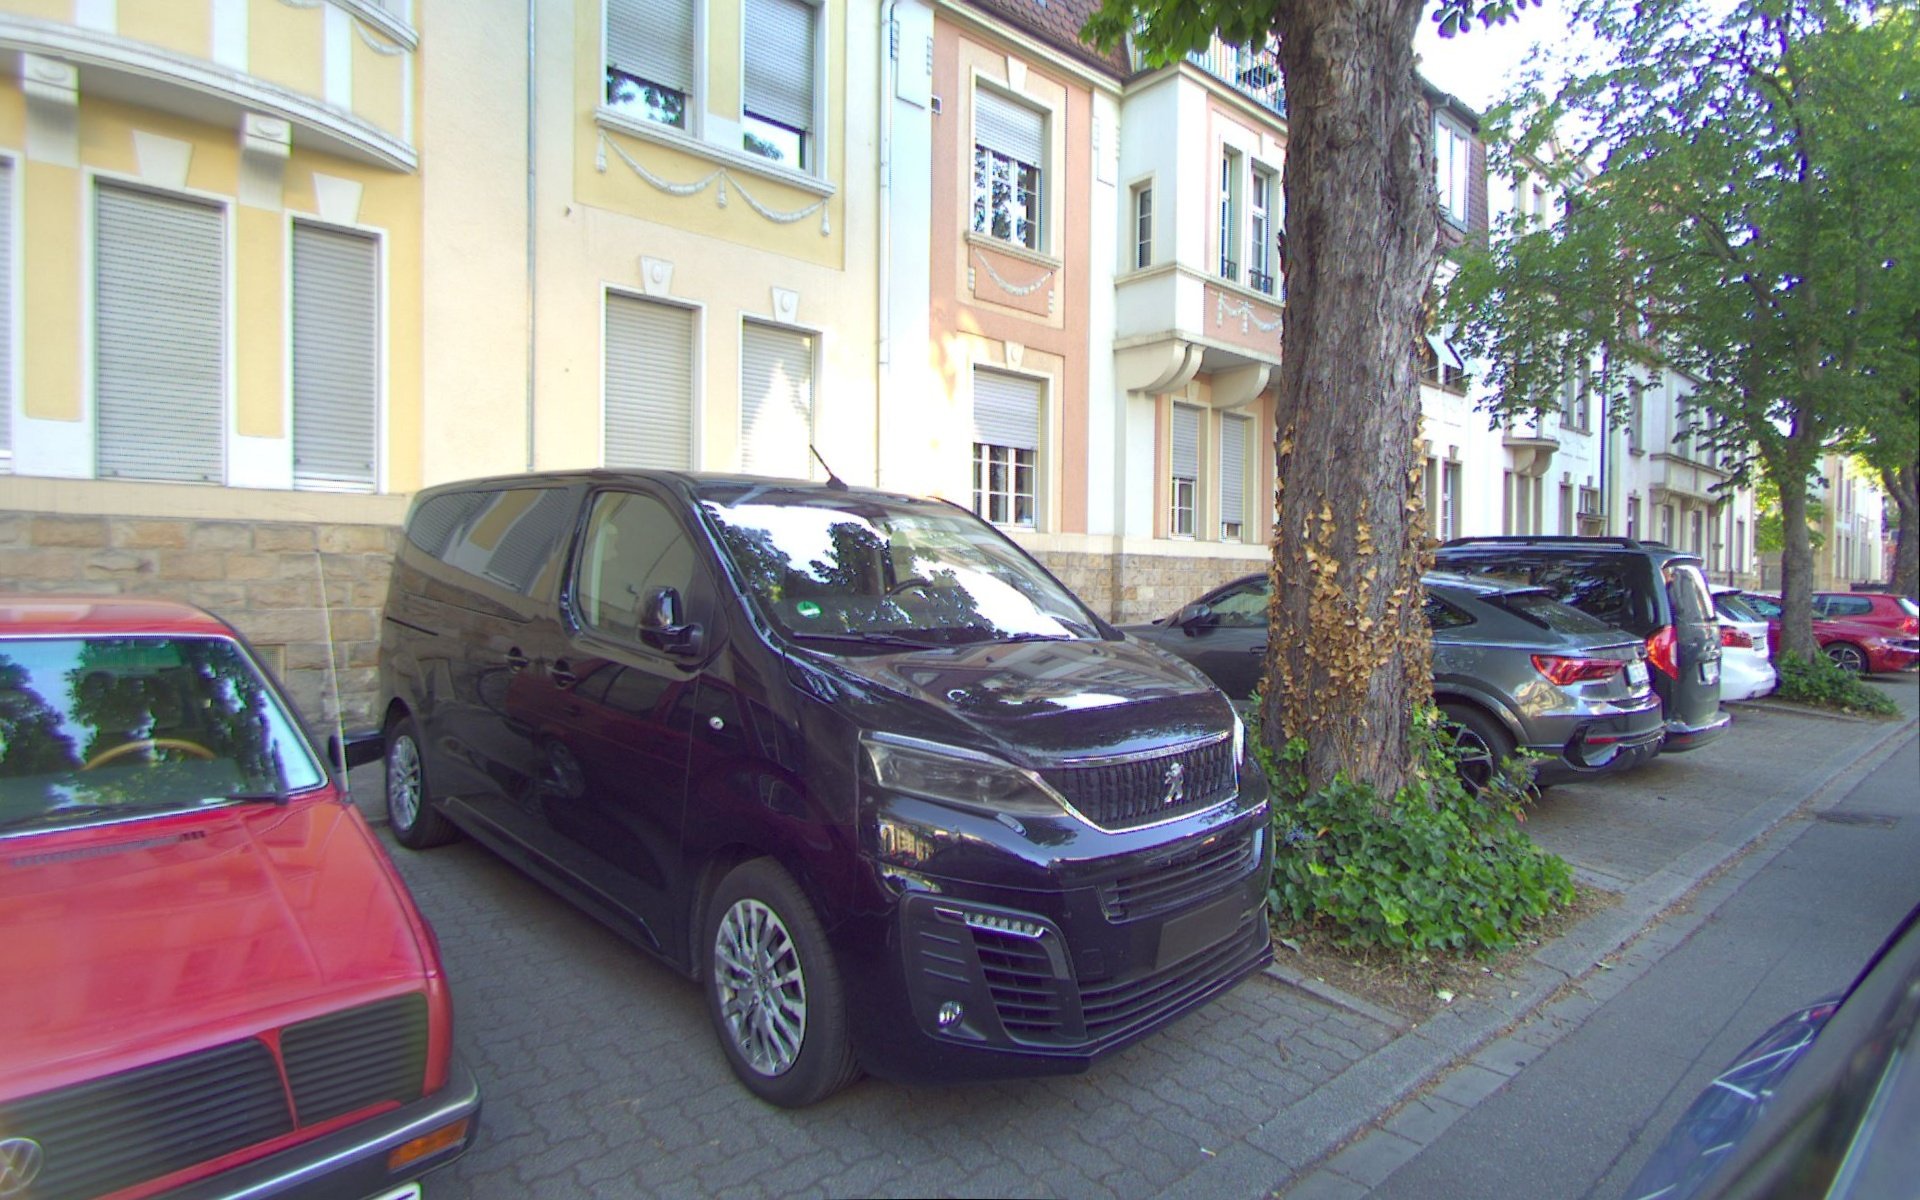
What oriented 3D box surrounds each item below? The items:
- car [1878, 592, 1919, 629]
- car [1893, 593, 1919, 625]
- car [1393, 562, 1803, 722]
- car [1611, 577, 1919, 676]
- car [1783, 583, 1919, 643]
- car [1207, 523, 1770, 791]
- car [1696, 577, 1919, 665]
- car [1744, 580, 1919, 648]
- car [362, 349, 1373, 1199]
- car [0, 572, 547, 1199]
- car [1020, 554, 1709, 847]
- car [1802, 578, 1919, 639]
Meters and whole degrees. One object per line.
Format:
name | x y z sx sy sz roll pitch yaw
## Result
car | 31.895 0.374 32.462 1.515 1.164 3.399 0 3 -39
car | 34.275 0.373 34.525 1.515 1.076 3.399 0 3 -39
car | 7.701 0.372 12.520 1.689 1.597 3.948 0 3 -41
car | 14.784 0.378 18.458 1.833 1.470 4.533 0 3 -38
car | 24.004 0.314 26.406 1.548 1.416 3.681 0 3 -39
car | 4.517 0.304 9.140 1.814 1.860 4.116 -1 3 -42
car | 16.894 0.349 19.813 1.628 1.499 3.682 0 2 -38
car | 21.852 0.292 24.969 1.548 1.484 3.681 0 3 -39
car | -0.940 0.321 4.470 1.867 1.897 4.753 -1 3 -44
car | -2.876 0.625 3.030 1.603 1.332 4.139 -1 3 -44
car | 2.743 0.457 7.697 1.815 1.542 4.513 -1 3 -44
car | 25.869 0.227 28.027 1.548 1.576 3.681 0 2 -39
